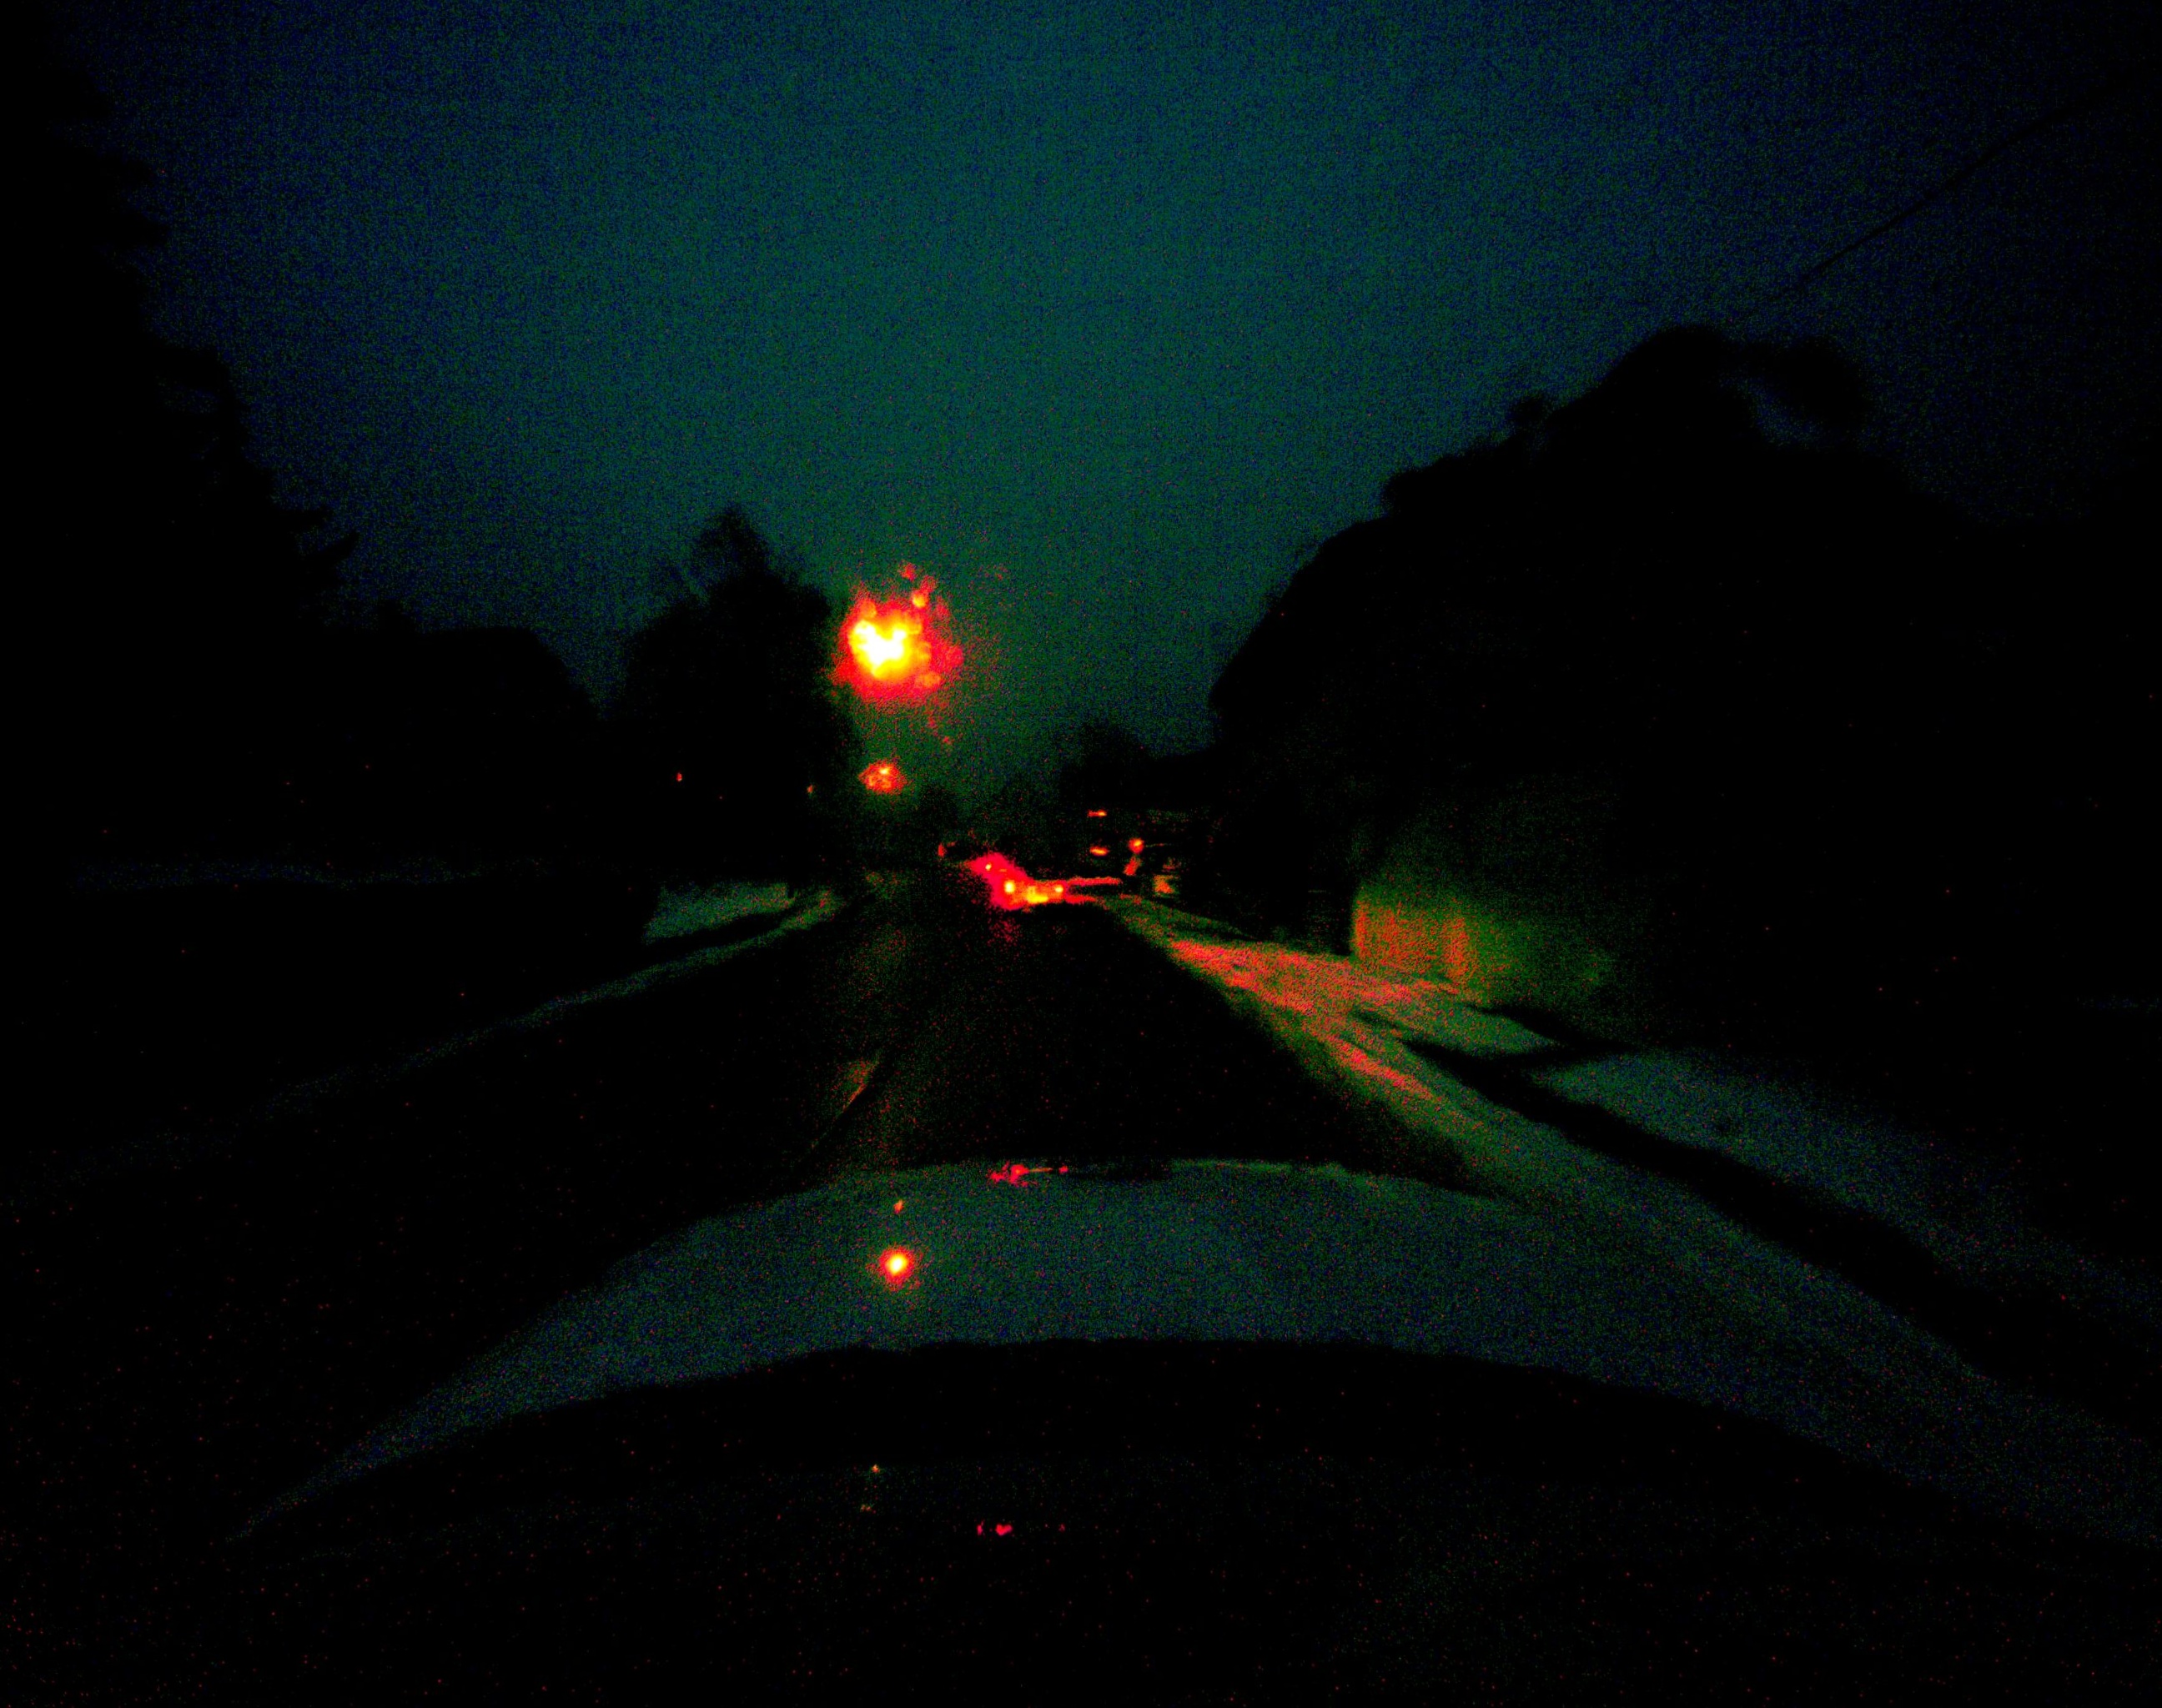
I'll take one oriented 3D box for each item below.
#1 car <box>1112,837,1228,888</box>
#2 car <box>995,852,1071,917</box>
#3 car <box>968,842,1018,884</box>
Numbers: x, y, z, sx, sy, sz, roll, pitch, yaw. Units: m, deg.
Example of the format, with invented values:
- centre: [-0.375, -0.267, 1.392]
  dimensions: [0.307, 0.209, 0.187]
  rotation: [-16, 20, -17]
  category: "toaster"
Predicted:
- centre: [3.330, 0.332, 31.145]
  dimensions: [4.194, 1.858, 1.910]
  rotation: [0, -1, -2]
  category: "car"
- centre: [-1.332, 0.772, 22.330]
  dimensions: [1.894, 1.609, 3.994]
  rotation: [0, -1, -4]
  category: "car"
- centre: [-3.797, 0.379, 35.755]
  dimensions: [1.990, 1.737, 3.873]
  rotation: [0, -1, -4]
  category: "car"
